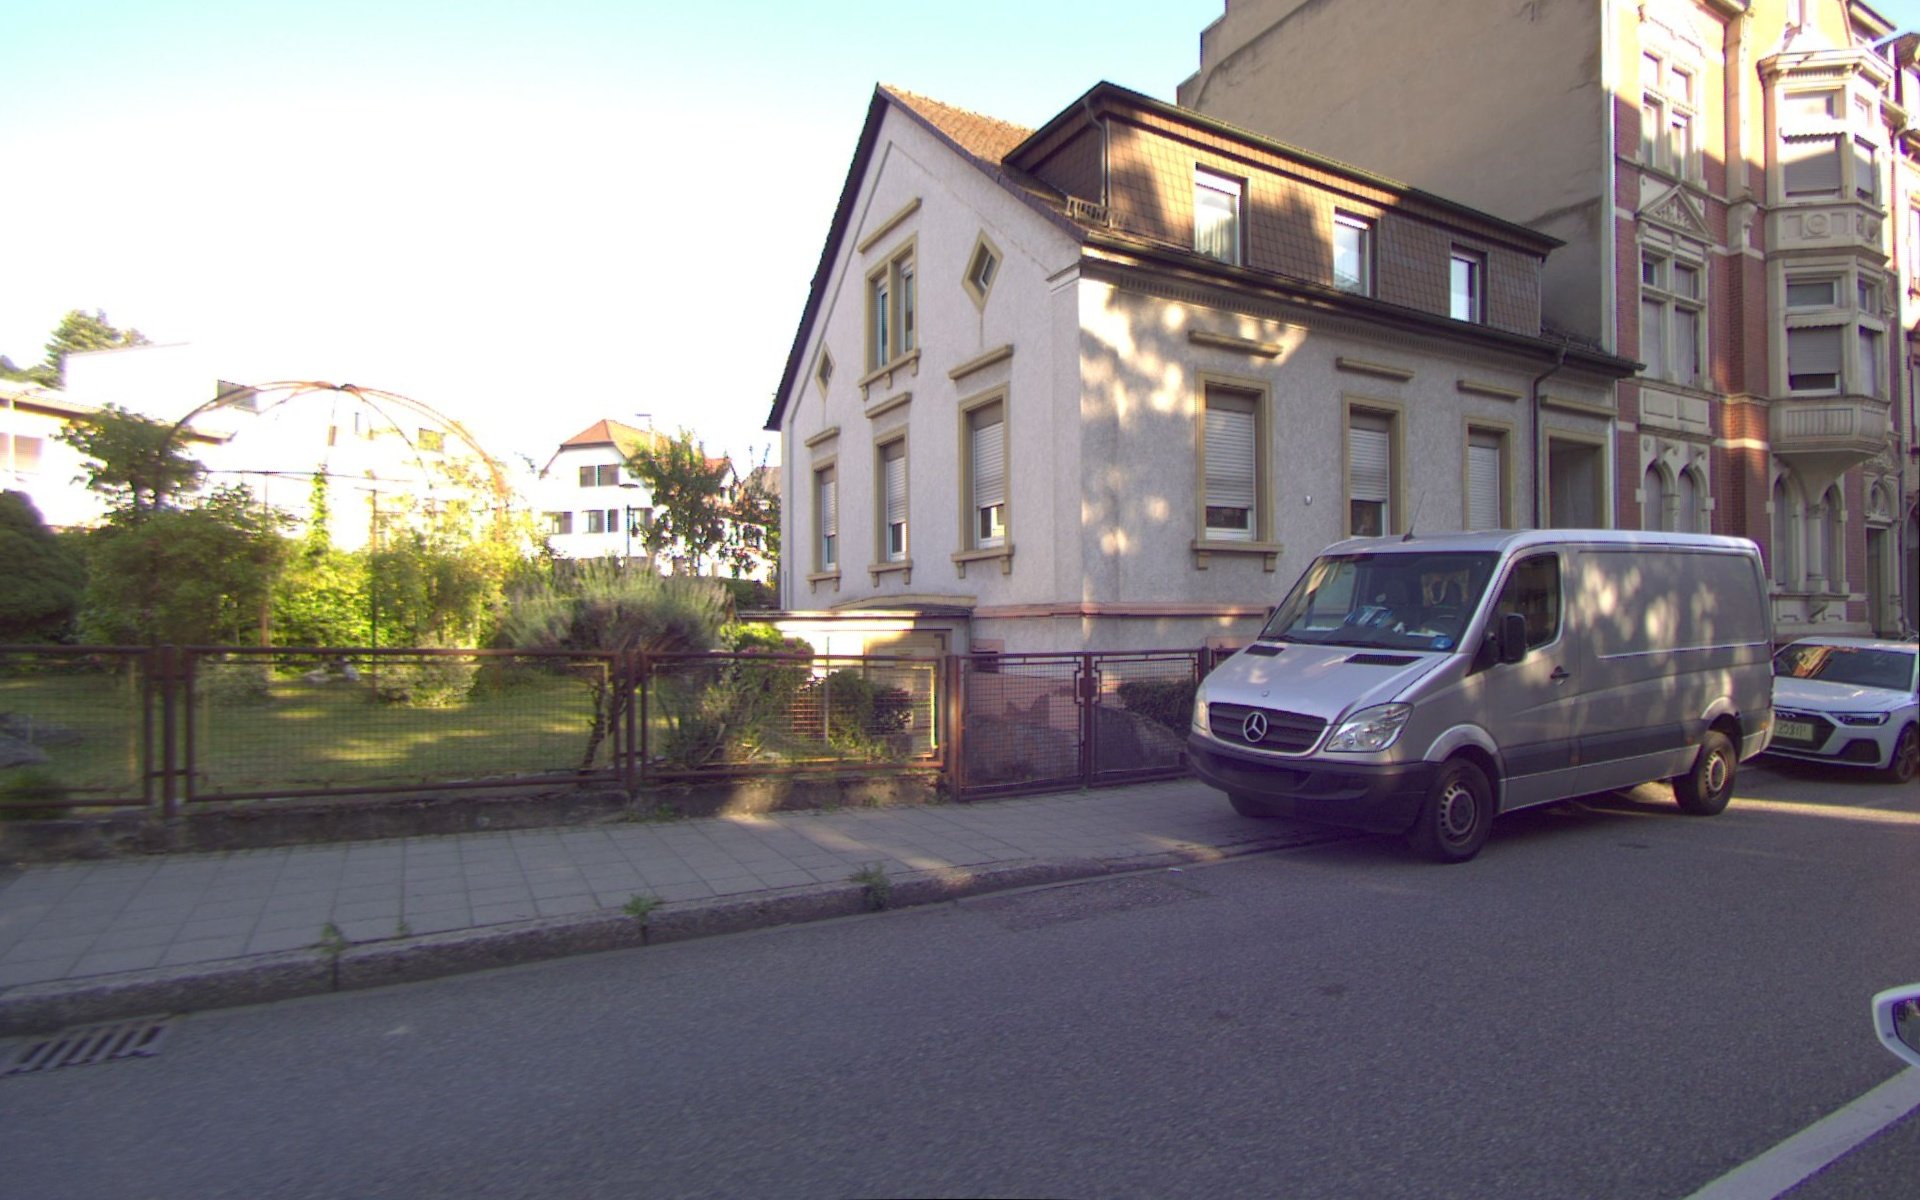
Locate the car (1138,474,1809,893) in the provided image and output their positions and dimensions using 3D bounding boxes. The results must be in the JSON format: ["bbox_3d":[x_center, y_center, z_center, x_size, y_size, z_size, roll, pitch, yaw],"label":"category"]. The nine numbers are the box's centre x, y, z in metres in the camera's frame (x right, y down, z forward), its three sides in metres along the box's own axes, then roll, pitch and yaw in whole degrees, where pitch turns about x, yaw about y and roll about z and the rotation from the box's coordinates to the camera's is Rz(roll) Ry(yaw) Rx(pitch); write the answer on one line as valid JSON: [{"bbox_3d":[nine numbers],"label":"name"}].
[{"bbox_3d":[4.466,0.539,8.361,5.941,2.493,2.058,1,0,-30],"label":"car"}]

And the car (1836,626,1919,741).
[{"bbox_3d":[14.576,1.162,14.502,3.972,1.523,1.695,1,0,-30],"label":"car"}]

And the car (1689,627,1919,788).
[{"bbox_3d":[10.223,1.095,11.517,3.779,1.523,1.694,1,0,-31],"label":"car"}]
